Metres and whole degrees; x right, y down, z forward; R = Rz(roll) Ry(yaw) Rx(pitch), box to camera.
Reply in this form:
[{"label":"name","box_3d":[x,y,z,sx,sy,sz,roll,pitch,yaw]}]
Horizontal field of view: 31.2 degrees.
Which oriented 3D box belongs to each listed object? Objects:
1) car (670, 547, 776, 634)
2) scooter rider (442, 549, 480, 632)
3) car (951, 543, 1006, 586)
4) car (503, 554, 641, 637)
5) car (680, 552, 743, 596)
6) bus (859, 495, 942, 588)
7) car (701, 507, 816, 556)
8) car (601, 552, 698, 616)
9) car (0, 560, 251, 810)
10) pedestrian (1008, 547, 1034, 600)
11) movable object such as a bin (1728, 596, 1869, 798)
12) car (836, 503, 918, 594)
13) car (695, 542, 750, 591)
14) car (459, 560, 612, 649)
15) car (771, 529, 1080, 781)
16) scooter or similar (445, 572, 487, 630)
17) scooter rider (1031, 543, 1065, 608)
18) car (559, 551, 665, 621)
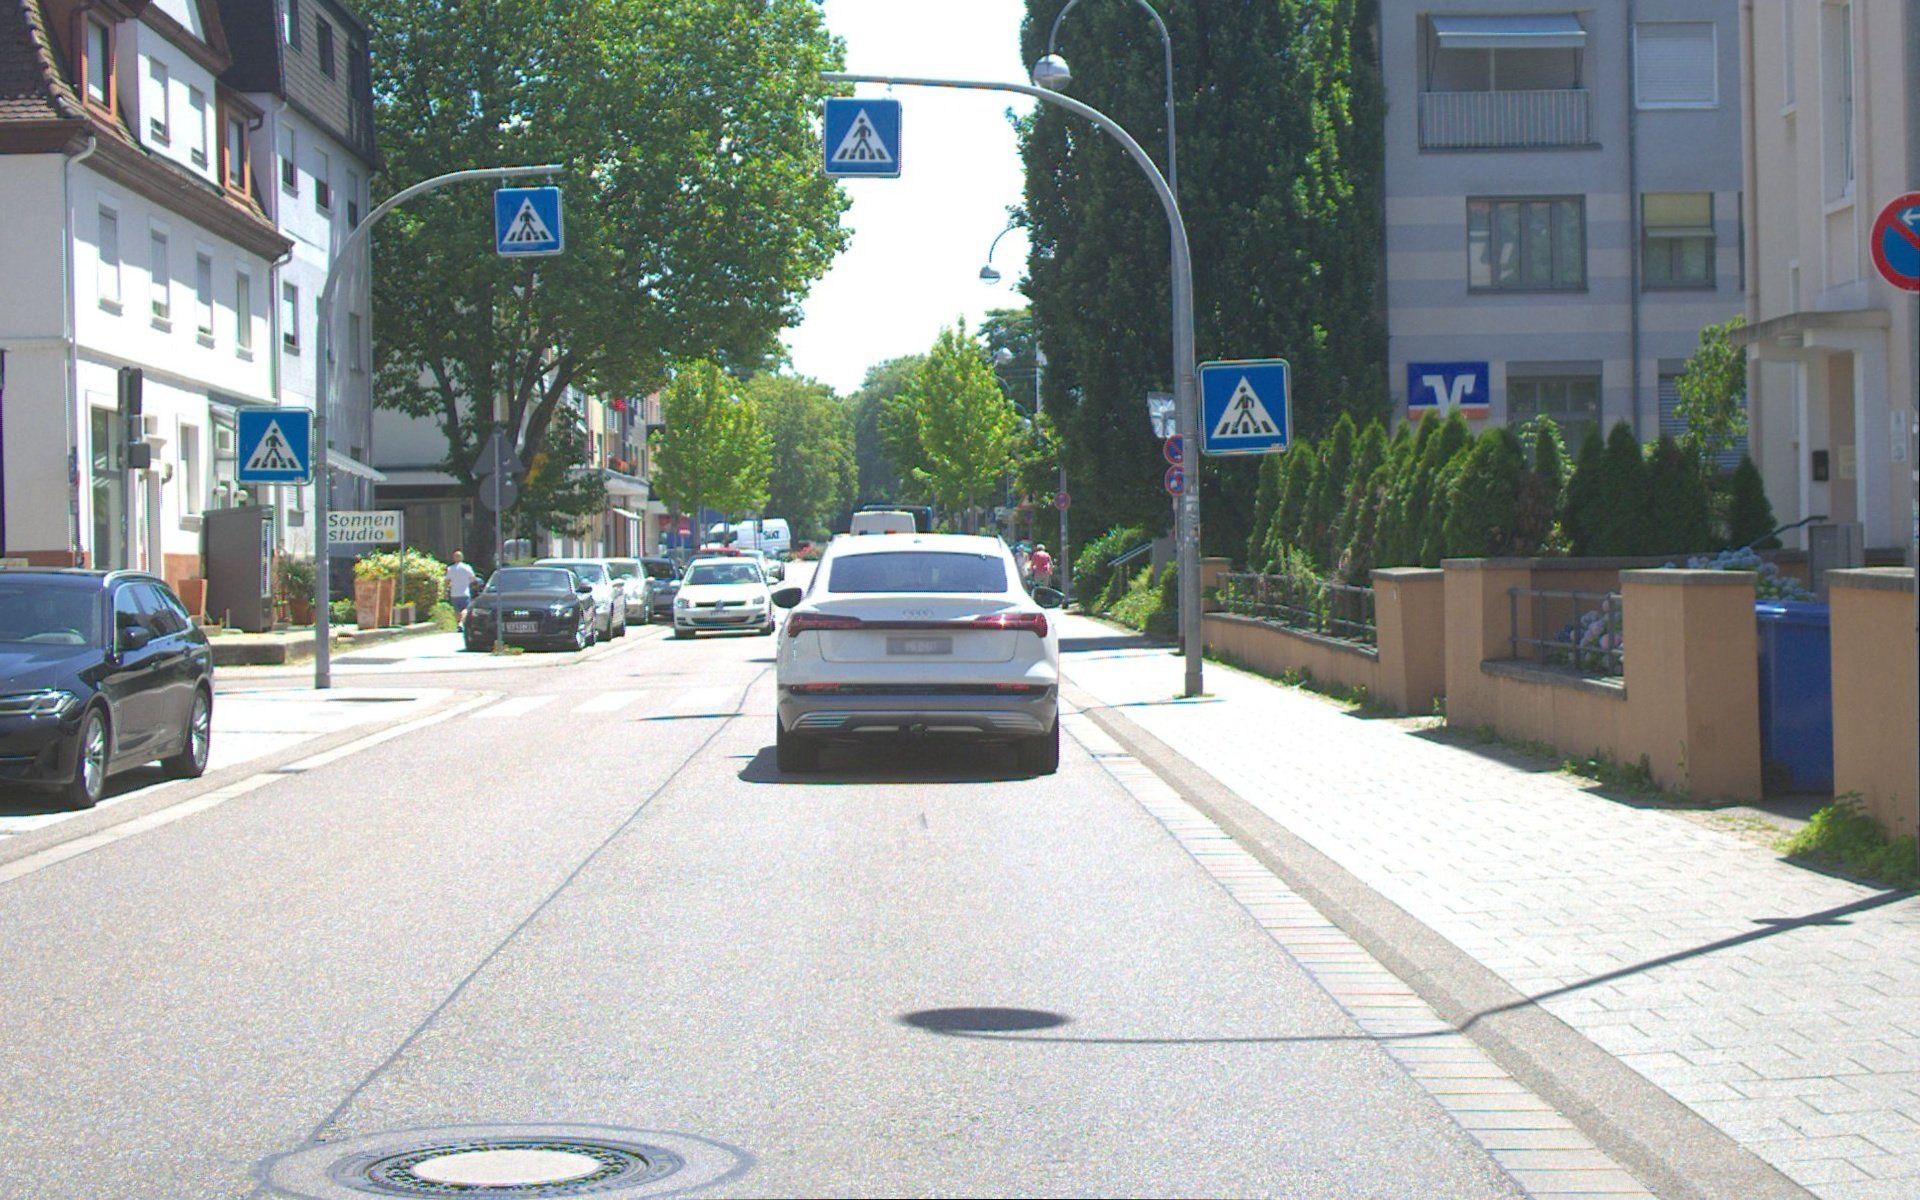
[{"label":"car","box_3d":[-4.373,-0.193,63.847,1.807,1.477,3.870,-3,1,-3]},{"label":"scooter rider","box_3d":[-9.662,-0.194,66.615,0.588,1.570,0.877,1,1,0]},{"label":"car","box_3d":[0.675,-1.285,123.134,1.896,1.433,4.544,-1,1,1]},{"label":"car","box_3d":[-7.078,-0.117,63.161,1.981,1.447,5.358,0,1,-1]},{"label":"car","box_3d":[-8.348,-0.882,115.843,1.896,1.412,5.048,1,1,-2]},{"label":"bus","box_3d":[-2.119,-2.093,124.563,2.661,3.210,7.301,1,1,1]},{"label":"car","box_3d":[-12.198,-4.179,208.201,7.088,2.621,2.042,-4,1,-41]},{"label":"car","box_3d":[-7.261,-0.395,80.779,1.981,1.447,5.151,0,1,-2]},{"label":"car","box_3d":[-6.303,0.484,23.363,1.916,1.447,5.149,2,1,-1]},{"label":"pedestrian","box_3d":[1.937,-0.835,109.267,0.700,1.621,0.784,-4,0,-2]},{"label":"movable object such as a bin","box_3d":[4.716,0.537,19.358,0.624,1.096,0.632,-2,1,2]},{"label":"car","box_3d":[-2.274,-1.420,95.329,2.156,2.433,5.284,1,1,-1]},{"label":"car","box_3d":[-8.441,-1.205,122.314,1.752,1.696,4.102,1,1,-2]},{"label":"car","box_3d":[-6.987,0.035,57.093,1.942,1.369,5.098,-1,1,-1]},{"label":"car","box_3d":[-0.302,0.323,24.293,1.993,1.627,4.001,0,1,-2]},{"label":"scooter or similar","box_3d":[-9.662,0.011,67.282,0.663,1.094,1.028,1,1,0]},{"label":"scooter rider","box_3d":[2.116,-0.593,82.702,0.716,1.543,0.770,-2,1,-3]},{"label":"car","box_3d":[-7.535,-0.334,74.880,1.981,1.447,4.869,0,1,-2]}]
